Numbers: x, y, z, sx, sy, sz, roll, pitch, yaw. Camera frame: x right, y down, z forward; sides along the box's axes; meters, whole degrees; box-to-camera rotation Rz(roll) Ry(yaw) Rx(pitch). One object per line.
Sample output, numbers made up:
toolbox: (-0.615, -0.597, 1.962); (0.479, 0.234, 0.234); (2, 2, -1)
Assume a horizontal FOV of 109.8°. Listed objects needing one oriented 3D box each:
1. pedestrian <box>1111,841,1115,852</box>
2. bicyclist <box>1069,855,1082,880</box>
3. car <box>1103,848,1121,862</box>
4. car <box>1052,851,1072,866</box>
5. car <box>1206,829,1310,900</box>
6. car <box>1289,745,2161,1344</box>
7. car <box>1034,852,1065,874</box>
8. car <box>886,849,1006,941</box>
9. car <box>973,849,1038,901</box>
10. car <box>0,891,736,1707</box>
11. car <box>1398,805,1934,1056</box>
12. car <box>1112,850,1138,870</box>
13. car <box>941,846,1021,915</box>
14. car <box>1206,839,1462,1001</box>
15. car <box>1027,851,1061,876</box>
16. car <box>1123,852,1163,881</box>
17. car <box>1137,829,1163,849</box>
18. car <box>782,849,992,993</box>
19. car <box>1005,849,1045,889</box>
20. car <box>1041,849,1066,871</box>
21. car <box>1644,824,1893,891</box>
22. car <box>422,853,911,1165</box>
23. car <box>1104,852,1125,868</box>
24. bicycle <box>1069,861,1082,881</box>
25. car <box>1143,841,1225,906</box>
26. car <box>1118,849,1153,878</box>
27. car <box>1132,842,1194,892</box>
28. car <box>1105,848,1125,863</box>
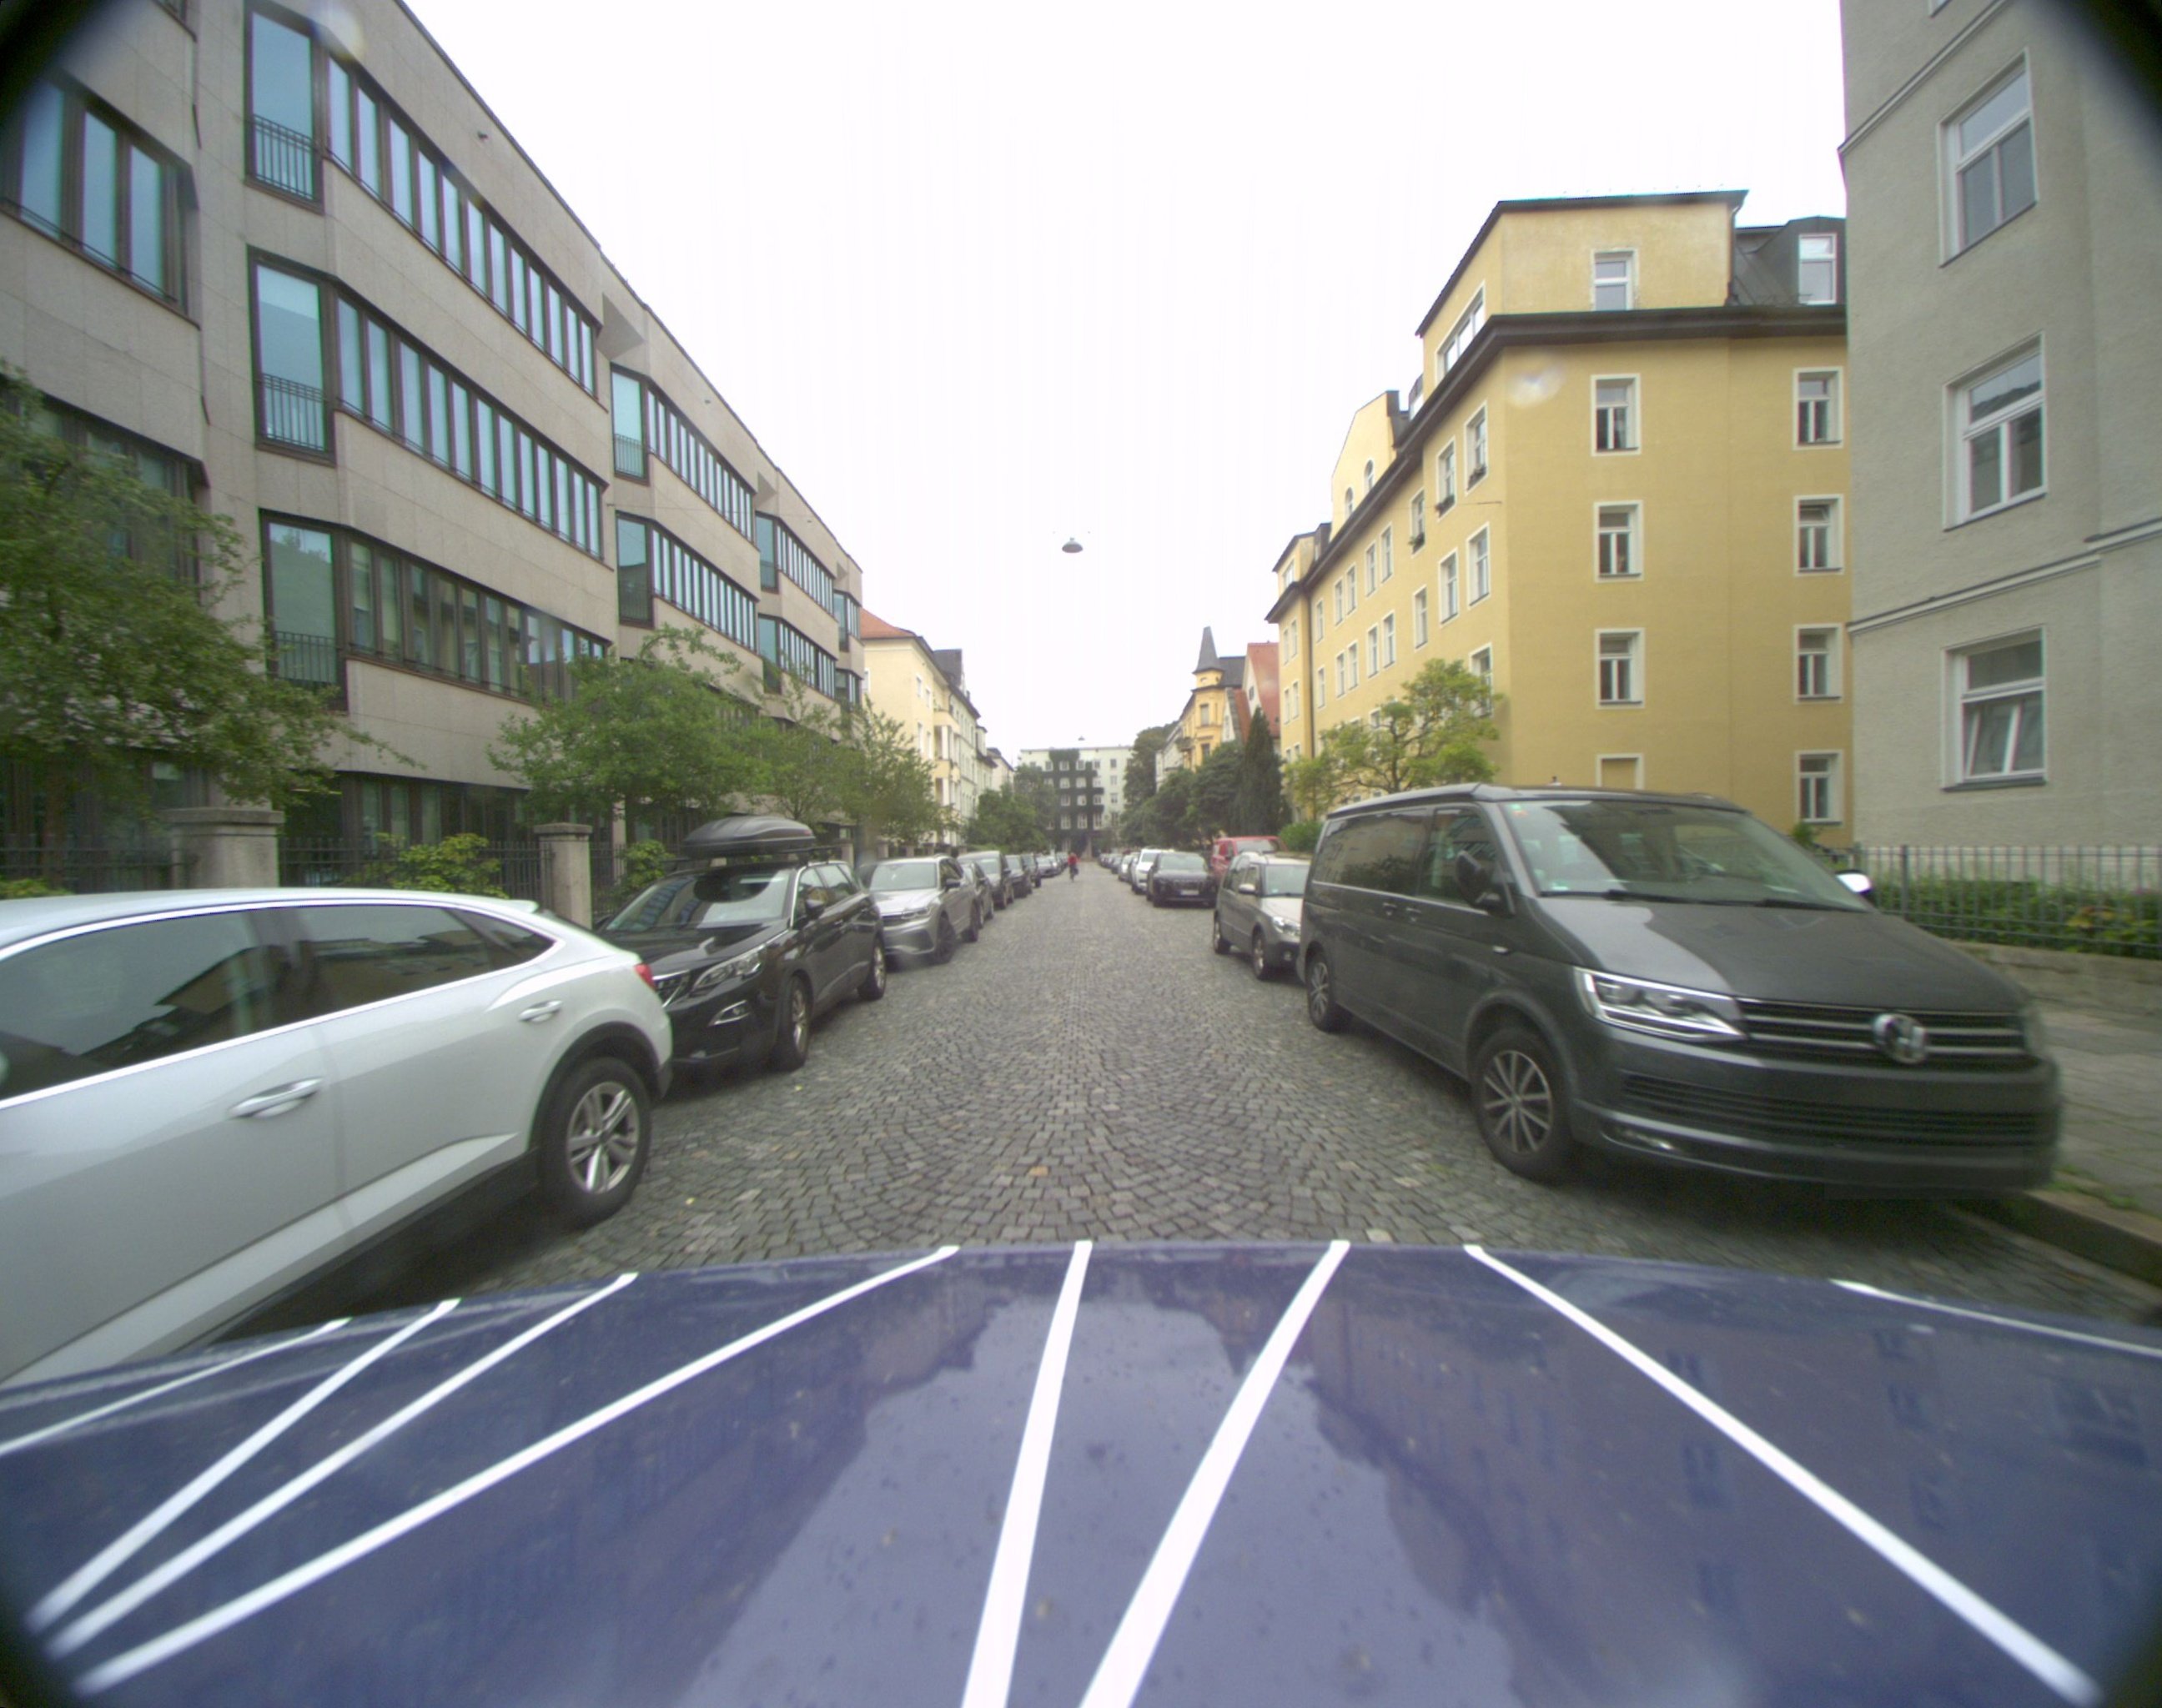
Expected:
pedestrian: (6.019, -1.402, 143.269); (0.665, 1.905, 0.863); (-3, 2, 9)
bicyclist: (-0.307, 0.746, 42.469); (0.648, 1.350, 0.656); (-3, 1, 0)
car: (3.581, 0.043, 89.287); (1.846, 1.577, 4.191); (-1, 1, -1)
car: (-2.119, 0.505, 85.453); (1.909, 1.494, 5.105); (-4, 1, 1)
car: (5.546, 0.283, 24.557); (1.999, 1.920, 5.329); (-3, 1, 0)
car: (2.935, 0.597, 4.829); (1.878, 1.906, 4.826); (0, 1, 0)
car: (-2.383, 0.662, 59.193); (1.998, 1.543, 4.985); (-3, 1, 1)
car: (-3.020, 0.833, 18.059); (1.878, 1.725, 4.658); (-6, 1, 0)
car: (-2.813, 0.726, 29.318); (1.865, 1.692, 4.812); (-5, 1, 1)
car: (-2.989, 1.014, 1.902); (1.877, 1.481, 4.617); (-4, 0, 3)
car: (5.342, 0.552, 7.993); (1.950, 1.725, 4.656); (-5, 1, 0)
car: (3.371, 0.452, 59.175); (1.819, 1.447, 4.912); (1, 1, 2)
car: (-3.020, 0.745, 23.879); (1.793, 1.786, 4.508); (-6, 1, -1)
car: (3.076, 0.699, 10.343); (1.870, 1.725, 4.402); (1, 0, -2)
car: (-2.599, 0.622, 53.953); (1.998, 1.543, 5.014); (-4, 1, 1)
car: (3.122, 0.607, 38.873); (1.734, 1.410, 3.936); (0, 1, 1)
car: (5.814, -1.269, 64.218); (1.744, 1.527, 4.466); (-3, 1, 0)
car: (-2.811, 0.863, 12.332); (1.877, 1.725, 4.891); (-4, 1, 2)
car: (-2.748, 0.688, 37.844); (1.623, 1.741, 3.886); (-5, 1, -1)
car: (-2.289, 0.492, 64.129); (1.898, 1.644, 4.293); (-3, 1, 0)
car: (15.769, 0.066, 17.607); (4.077, 1.415, 1.833); (-1, 1, 1)
car: (-3.057, 0.948, 7.036); (1.878, 1.725, 4.746); (-5, 1, -2)
car: (3.400, 0.590, 76.981); (1.744, 1.577, 4.190); (-1, 1, -2)
bicycle: (-0.294, 0.953, 42.514); (0.636, 1.021, 1.955); (-3, 1, 0)
car: (3.050, 0.515, 23.512); (1.922, 1.725, 4.755); (2, 1, 1)
car: (3.086, 0.487, 43.448); (1.718, 1.553, 4.390); (0, 1, 0)
car: (3.144, 0.445, 30.075); (2.011, 1.798, 5.174); (0, 1, 1)
car: (3.689, 0.141, 83.550); (1.875, 1.462, 5.132); (-1, 1, -1)
